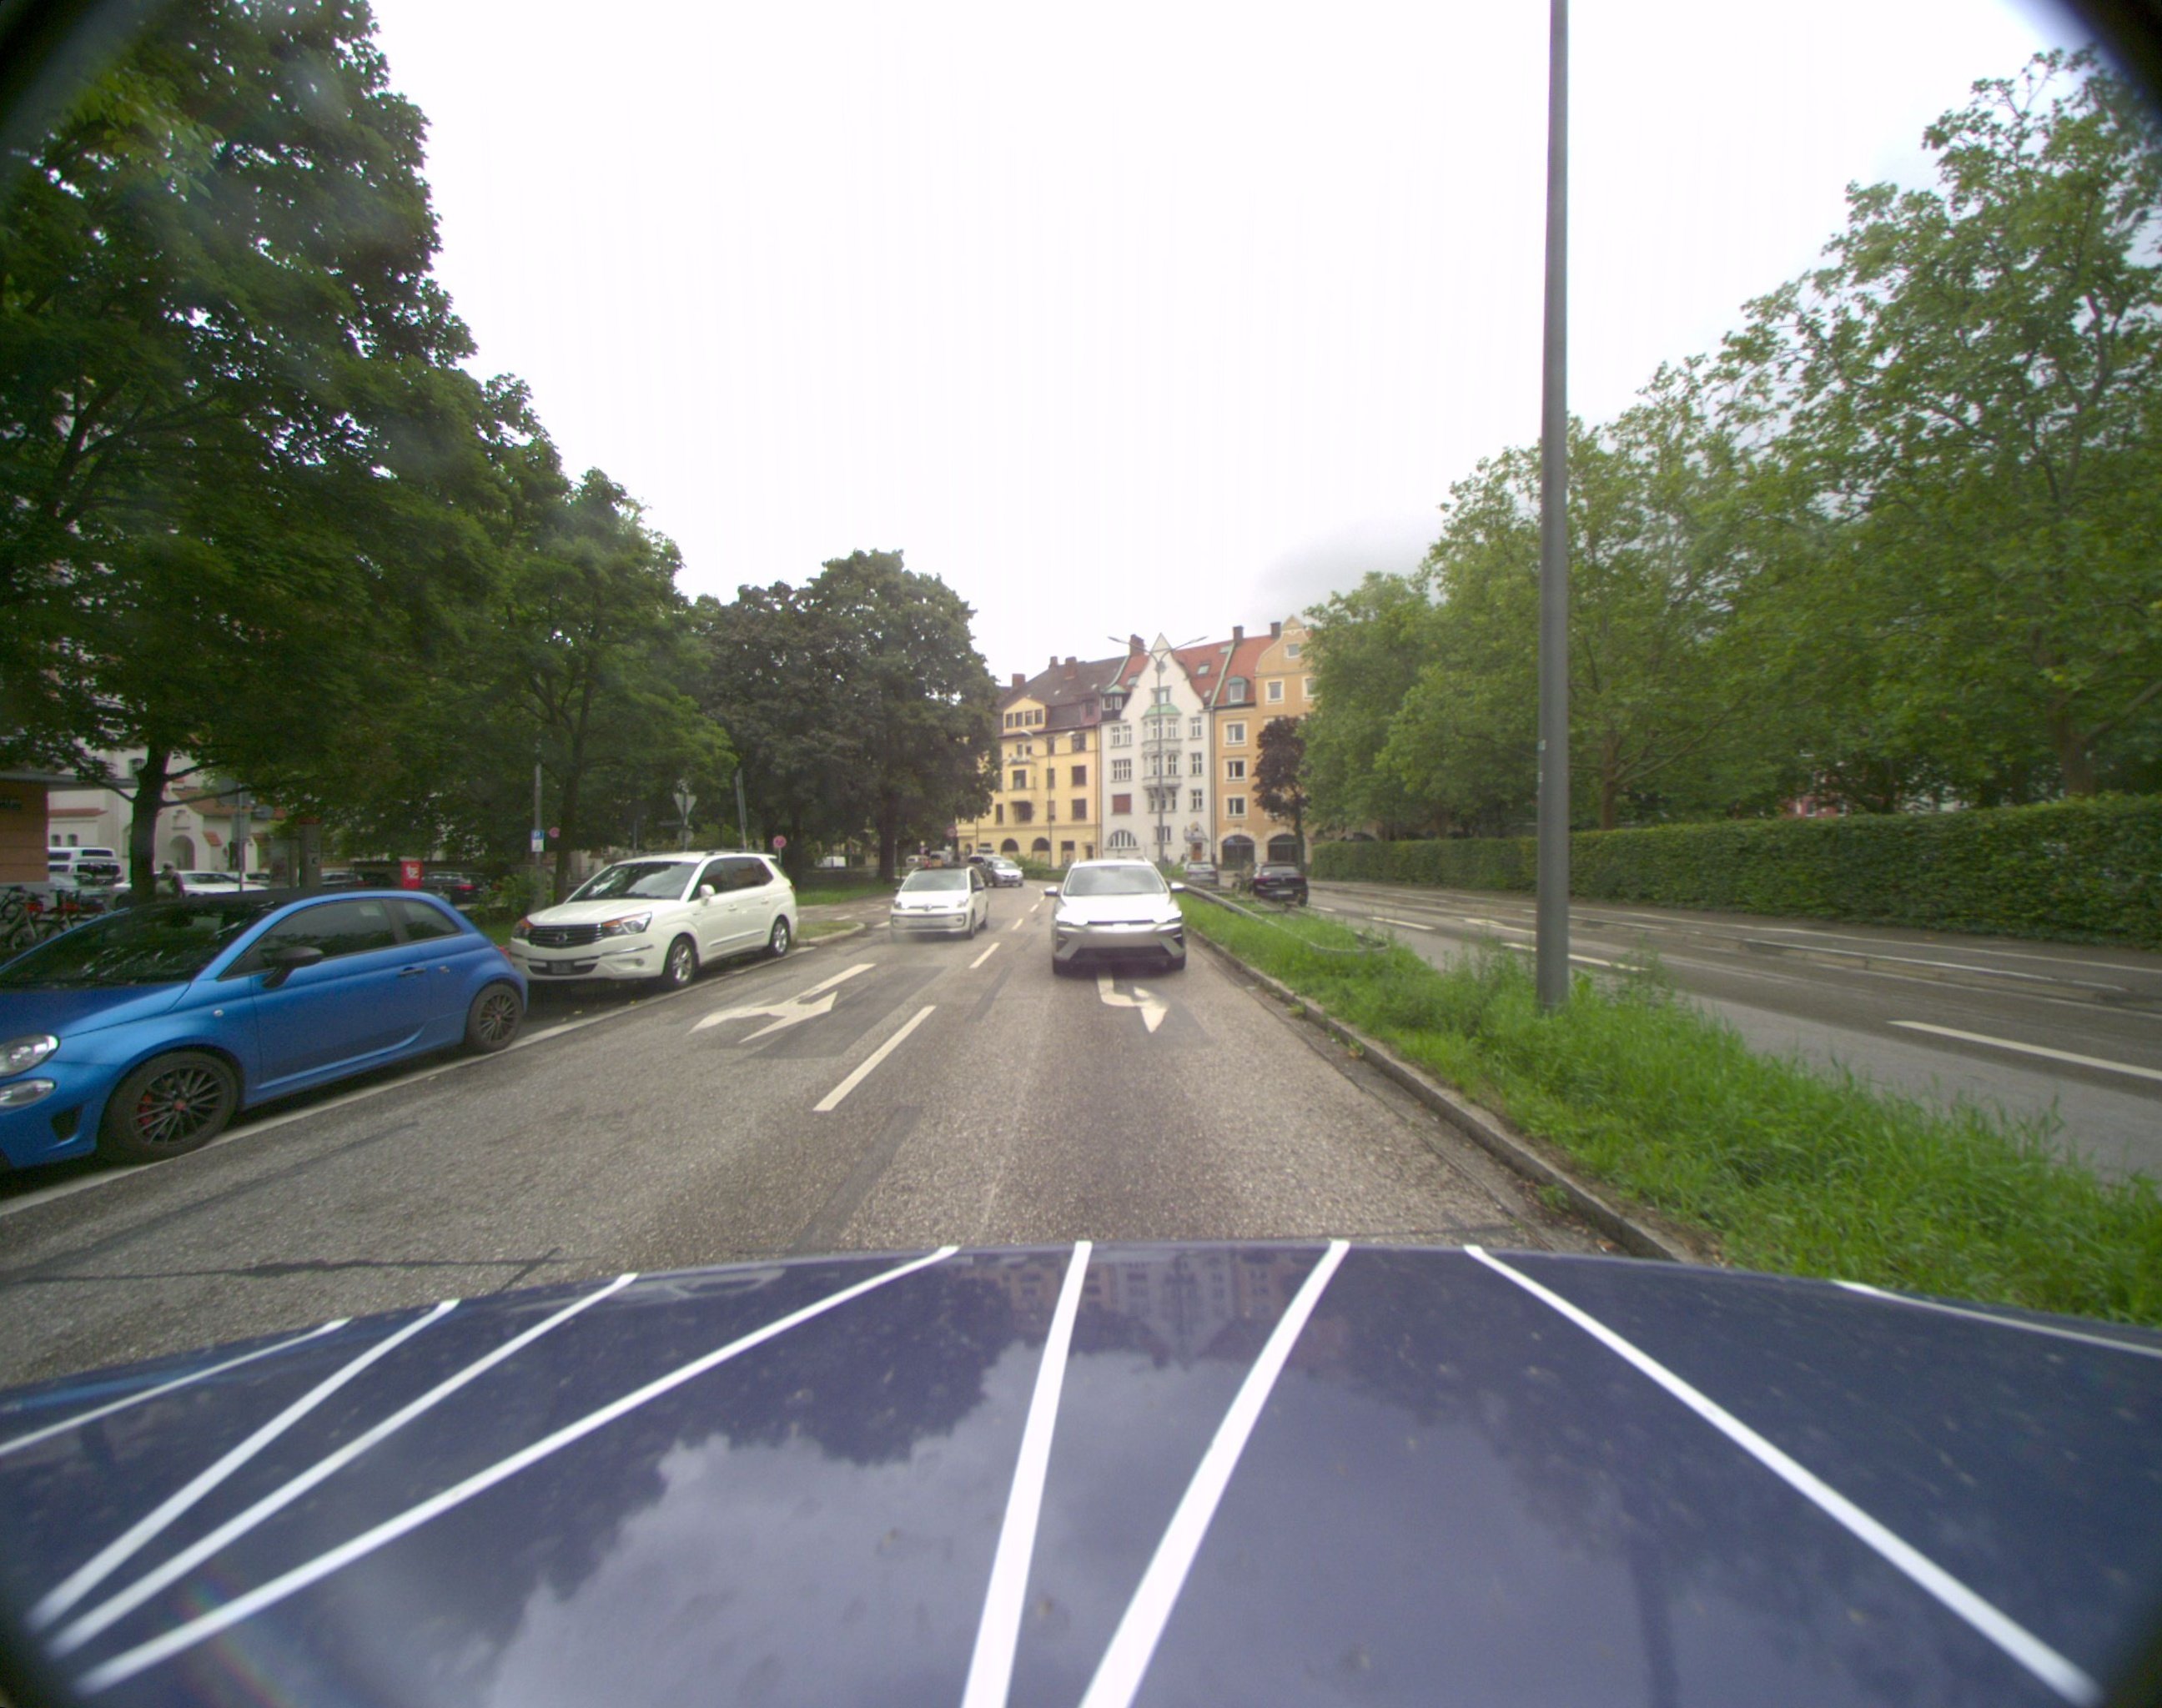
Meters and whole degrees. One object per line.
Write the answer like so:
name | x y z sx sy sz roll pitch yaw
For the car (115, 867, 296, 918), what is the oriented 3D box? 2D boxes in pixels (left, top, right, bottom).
car | -29.062 1.251 25.267 4.436 1.458 1.862 -2 1 10

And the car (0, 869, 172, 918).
car | -34.115 1.332 25.991 4.436 1.458 1.862 -2 1 10

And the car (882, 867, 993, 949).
car | -2.909 1.051 16.082 1.648 1.457 3.619 0 0 0

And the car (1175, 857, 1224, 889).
car | 5.550 0.866 36.006 1.758 1.377 4.000 -1 0 1

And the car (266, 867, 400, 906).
car | -32.401 1.413 32.959 4.436 1.458 1.862 -2 1 10

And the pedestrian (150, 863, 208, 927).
pedestrian | -22.654 1.028 19.089 0.602 1.543 0.644 -2 1 7

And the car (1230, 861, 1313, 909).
car | 6.102 0.957 24.800 1.758 1.377 4.000 -1 0 1

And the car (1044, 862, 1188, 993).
car | 0.418 0.896 11.042 1.710 1.521 3.886 0 0 0

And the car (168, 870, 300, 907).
car | -38.393 1.540 34.481 4.436 1.458 1.862 -2 1 10

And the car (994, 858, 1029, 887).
car | -3.955 1.034 43.760 1.648 1.521 3.886 0 0 0

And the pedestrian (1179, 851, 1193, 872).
pedestrian | 10.149 0.758 73.539 1.005 2.002 0.880 -1 1 32

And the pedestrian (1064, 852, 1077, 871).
pedestrian | -1.097 0.760 81.333 1.005 2.002 0.880 -1 1 32

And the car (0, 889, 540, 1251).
car | -5.811 1.100 5.209 1.523 1.540 3.662 -1 0 1

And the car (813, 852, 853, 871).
car | -27.256 0.839 83.546 3.989 2.002 2.003 -2 1 31

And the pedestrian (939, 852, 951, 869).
pedestrian | -16.332 0.811 90.928 1.005 2.002 0.880 -1 1 32

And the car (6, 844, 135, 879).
car | -48.536 0.341 36.535 4.436 1.458 1.862 -2 1 10

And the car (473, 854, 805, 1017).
car | -5.944 0.932 11.155 1.848 1.845 5.024 -1 0 1

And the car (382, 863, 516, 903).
car | -26.781 1.204 32.251 4.436 1.458 1.862 -2 1 10

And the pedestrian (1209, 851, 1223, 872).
pedestrian | 12.977 0.732 72.812 1.005 2.002 0.880 -1 1 32

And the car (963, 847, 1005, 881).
car | -7.087 0.682 55.194 1.916 2.337 4.936 -1 0 -21
